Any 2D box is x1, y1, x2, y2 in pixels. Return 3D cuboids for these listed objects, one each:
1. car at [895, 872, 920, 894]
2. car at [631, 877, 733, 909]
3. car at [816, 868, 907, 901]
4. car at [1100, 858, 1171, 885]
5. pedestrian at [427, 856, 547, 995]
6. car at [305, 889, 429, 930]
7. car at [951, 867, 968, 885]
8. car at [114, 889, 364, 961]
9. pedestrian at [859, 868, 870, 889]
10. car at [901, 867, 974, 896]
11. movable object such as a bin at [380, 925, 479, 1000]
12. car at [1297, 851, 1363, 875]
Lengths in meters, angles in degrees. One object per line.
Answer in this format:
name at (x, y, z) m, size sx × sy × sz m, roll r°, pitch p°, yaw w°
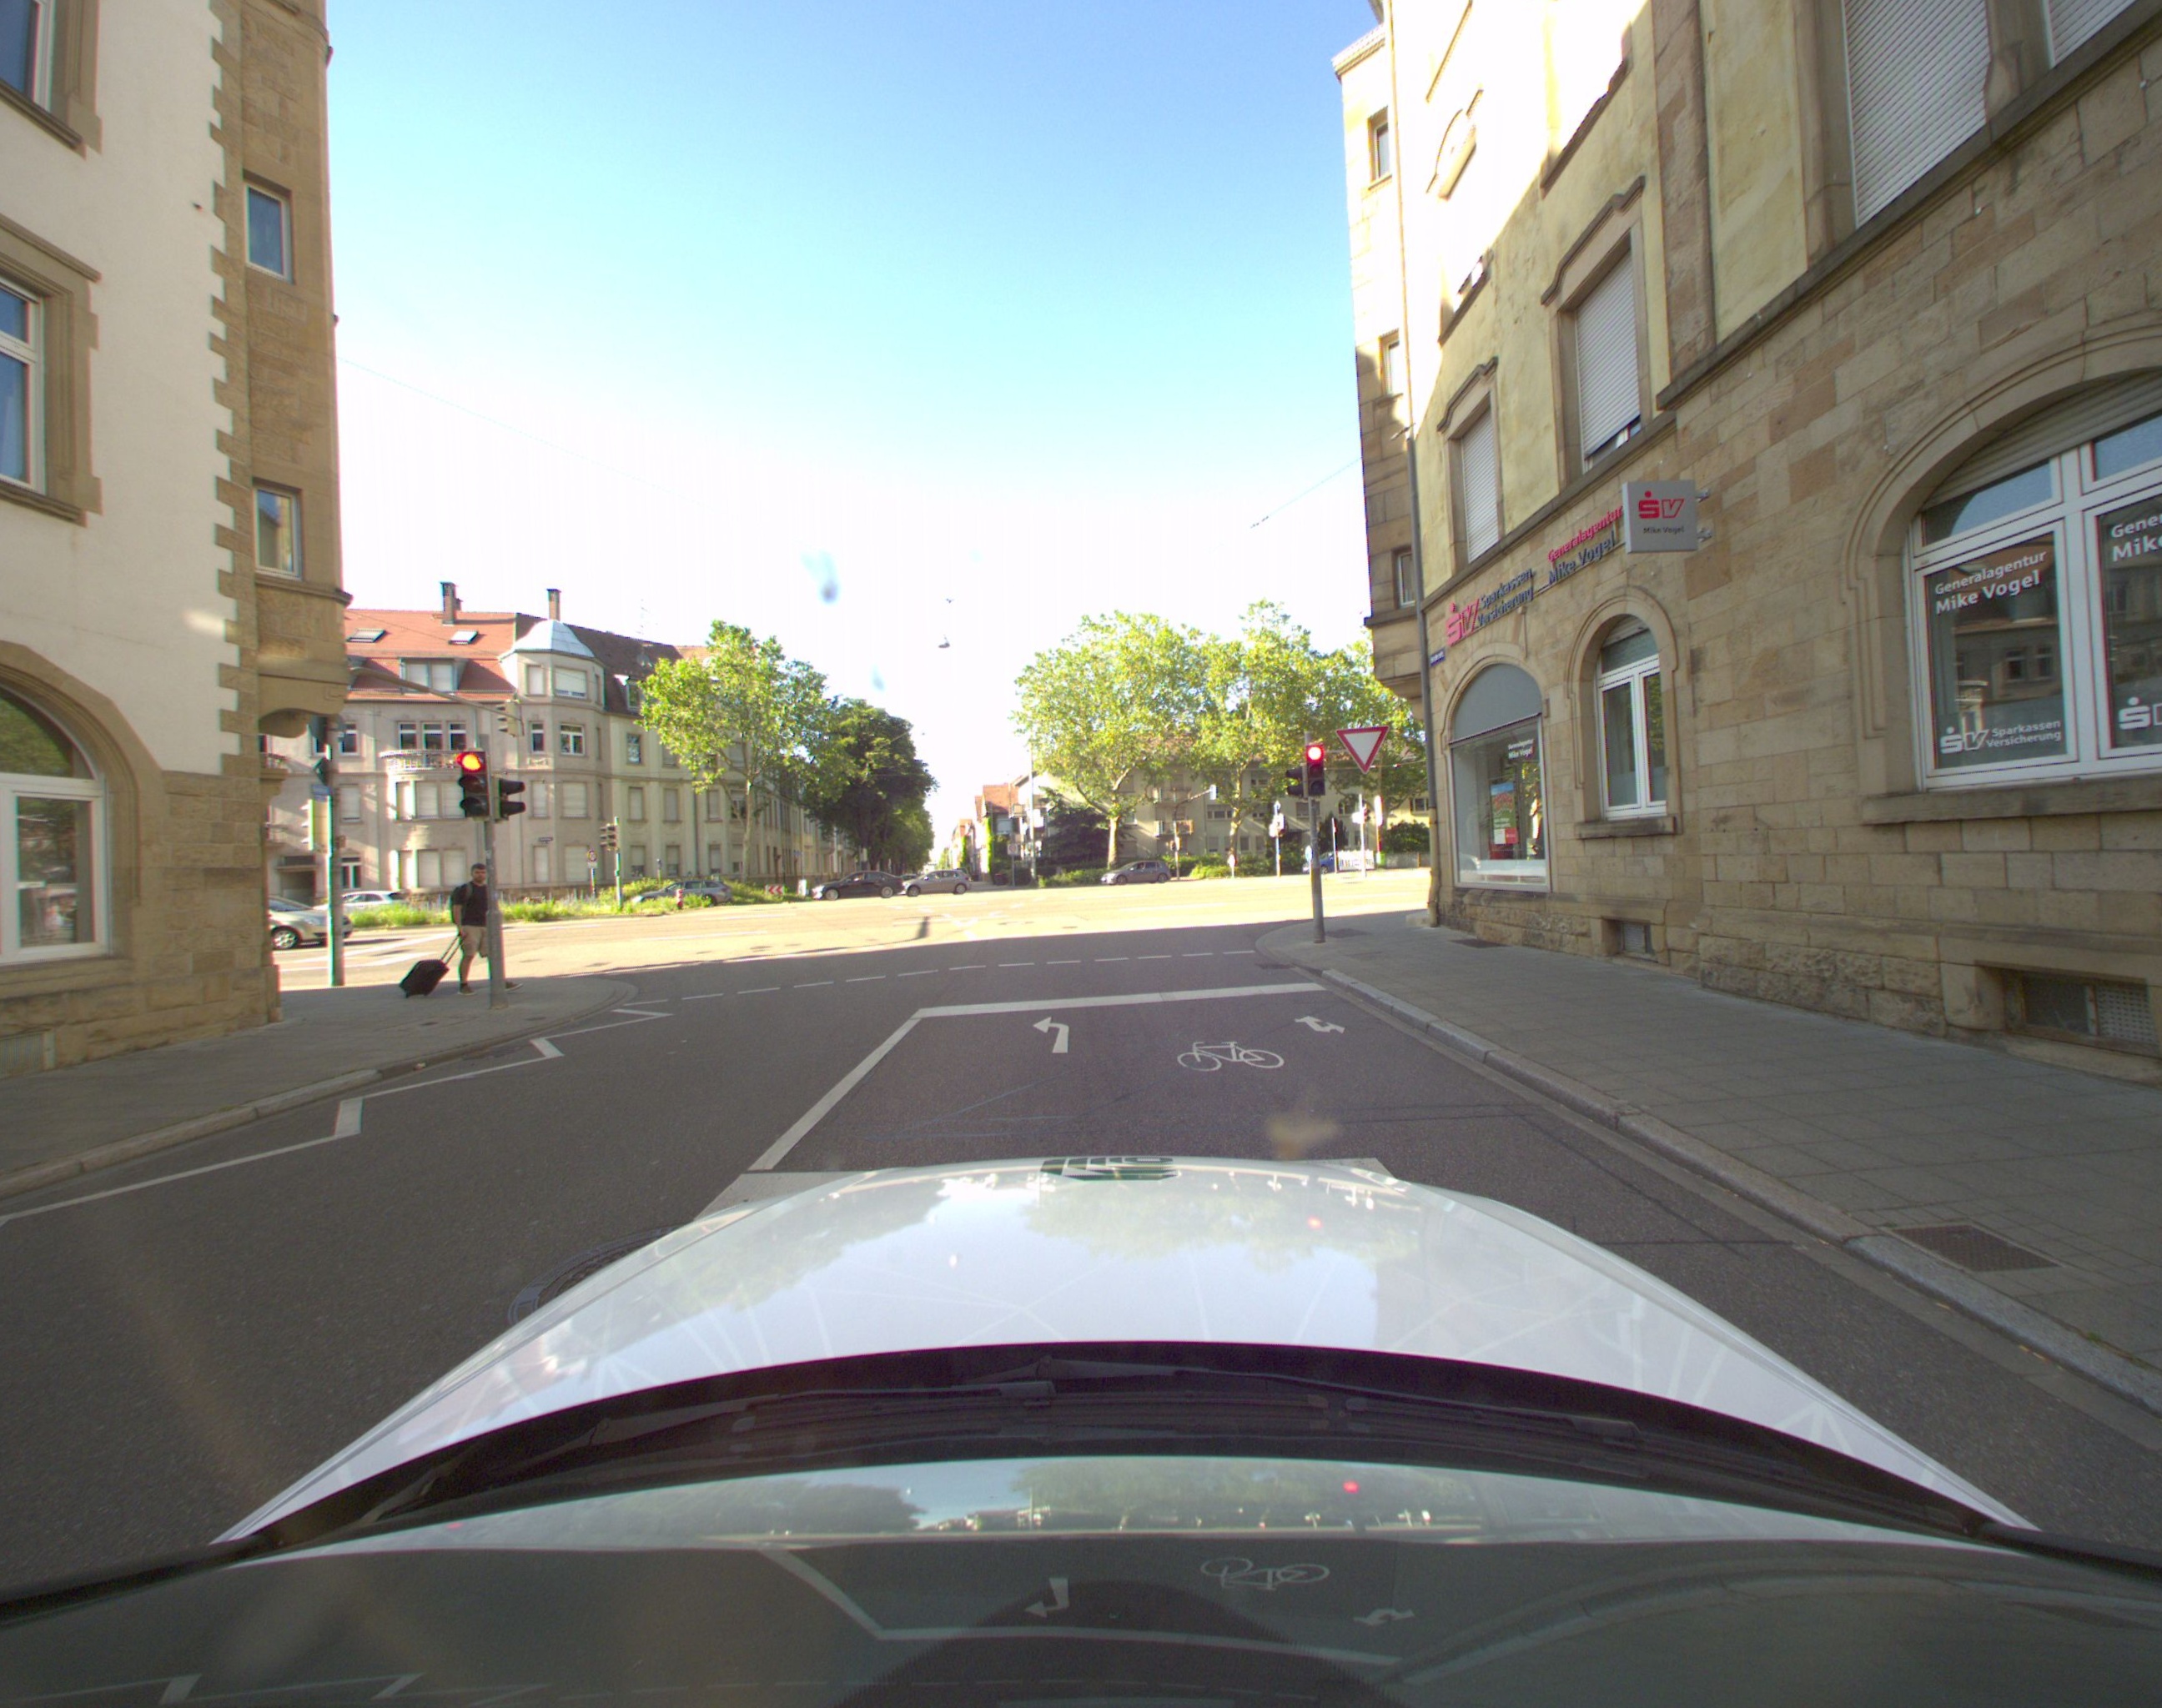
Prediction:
car at (-13.689, 2.270, 64.382) m, size 1.698 × 1.483 × 3.522 m, roll -4°, pitch 0°, yaw -10°
car at (-20.015, 1.933, 41.040) m, size 4.399 × 1.316 × 1.636 m, roll -2°, pitch 0°, yaw -18°
car at (-11.037, 1.506, 40.879) m, size 4.281 × 1.400 × 1.635 m, roll -2°, pitch 0°, yaw -20°
car at (3.275, 1.050, 49.223) m, size 3.952 × 1.400 × 1.635 m, roll -2°, pitch 0°, yaw -20°
pedestrian at (-8.265, 0.976, 11.384) m, size 1.066 × 1.849 × 0.746 m, roll 1°, pitch -2°, yaw -11°
car at (-30.433, 2.341, 34.832) m, size 3.641 × 1.457 × 1.494 m, roll -2°, pitch 0°, yaw -18°
car at (-14.216, 2.516, 95.386) m, size 1.773 × 1.918 × 3.522 m, roll -4°, pitch 0°, yaw -10°
car at (-21.926, 1.808, 21.414) m, size 4.212 × 1.456 × 1.669 m, roll -3°, pitch 0°, yaw -17°
pedestrian at (-15.369, 1.753, 57.839) m, size 0.707 × 1.442 × 0.485 m, roll 0°, pitch -1°, yaw -28°
car at (-8.015, 1.506, 45.403) m, size 3.793 × 1.400 × 1.635 m, roll -2°, pitch 0°, yaw -20°
movable object such as a bin at (-8.749, 1.445, 10.965) m, size 0.862 × 0.892 × 0.507 m, roll -3°, pitch 0°, yaw -11°
car at (16.239, 0.588, 53.061) m, size 3.786 × 1.400 × 1.638 m, roll -2°, pitch 0°, yaw -14°
